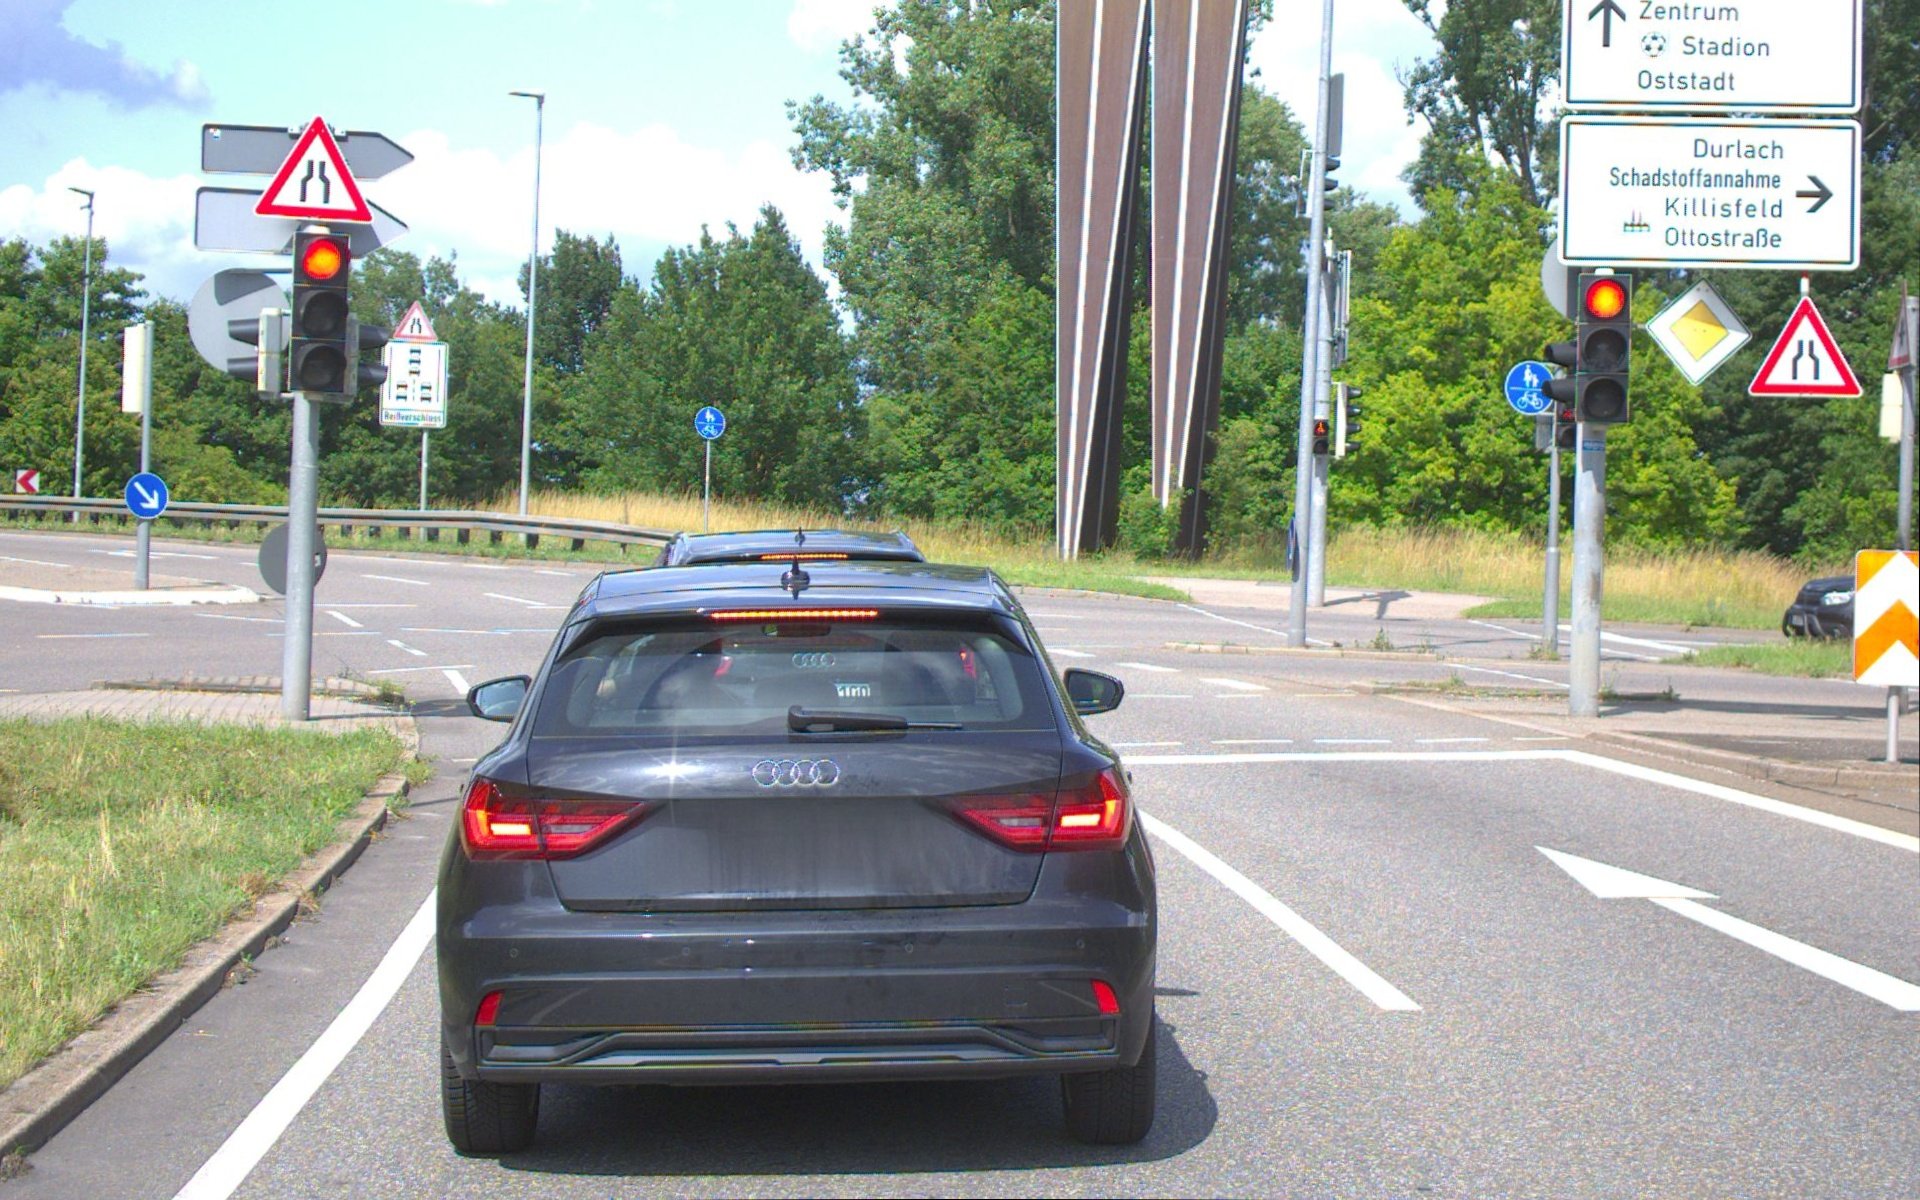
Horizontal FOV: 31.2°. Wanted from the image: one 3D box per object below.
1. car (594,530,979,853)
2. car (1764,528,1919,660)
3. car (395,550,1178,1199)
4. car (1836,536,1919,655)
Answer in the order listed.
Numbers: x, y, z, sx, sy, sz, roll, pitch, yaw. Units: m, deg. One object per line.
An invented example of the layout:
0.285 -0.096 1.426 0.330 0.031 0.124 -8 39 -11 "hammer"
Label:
-0.953 0.372 17.419 1.726 1.418 3.845 0 2 -5 "car"
12.217 -0.047 42.085 4.268 1.539 1.737 2 1 -2 "car"
-0.424 0.590 9.615 1.726 1.399 4.001 0 2 -1 "car"
14.402 -0.013 45.994 4.847 1.539 1.737 2 1 -2 "car"
